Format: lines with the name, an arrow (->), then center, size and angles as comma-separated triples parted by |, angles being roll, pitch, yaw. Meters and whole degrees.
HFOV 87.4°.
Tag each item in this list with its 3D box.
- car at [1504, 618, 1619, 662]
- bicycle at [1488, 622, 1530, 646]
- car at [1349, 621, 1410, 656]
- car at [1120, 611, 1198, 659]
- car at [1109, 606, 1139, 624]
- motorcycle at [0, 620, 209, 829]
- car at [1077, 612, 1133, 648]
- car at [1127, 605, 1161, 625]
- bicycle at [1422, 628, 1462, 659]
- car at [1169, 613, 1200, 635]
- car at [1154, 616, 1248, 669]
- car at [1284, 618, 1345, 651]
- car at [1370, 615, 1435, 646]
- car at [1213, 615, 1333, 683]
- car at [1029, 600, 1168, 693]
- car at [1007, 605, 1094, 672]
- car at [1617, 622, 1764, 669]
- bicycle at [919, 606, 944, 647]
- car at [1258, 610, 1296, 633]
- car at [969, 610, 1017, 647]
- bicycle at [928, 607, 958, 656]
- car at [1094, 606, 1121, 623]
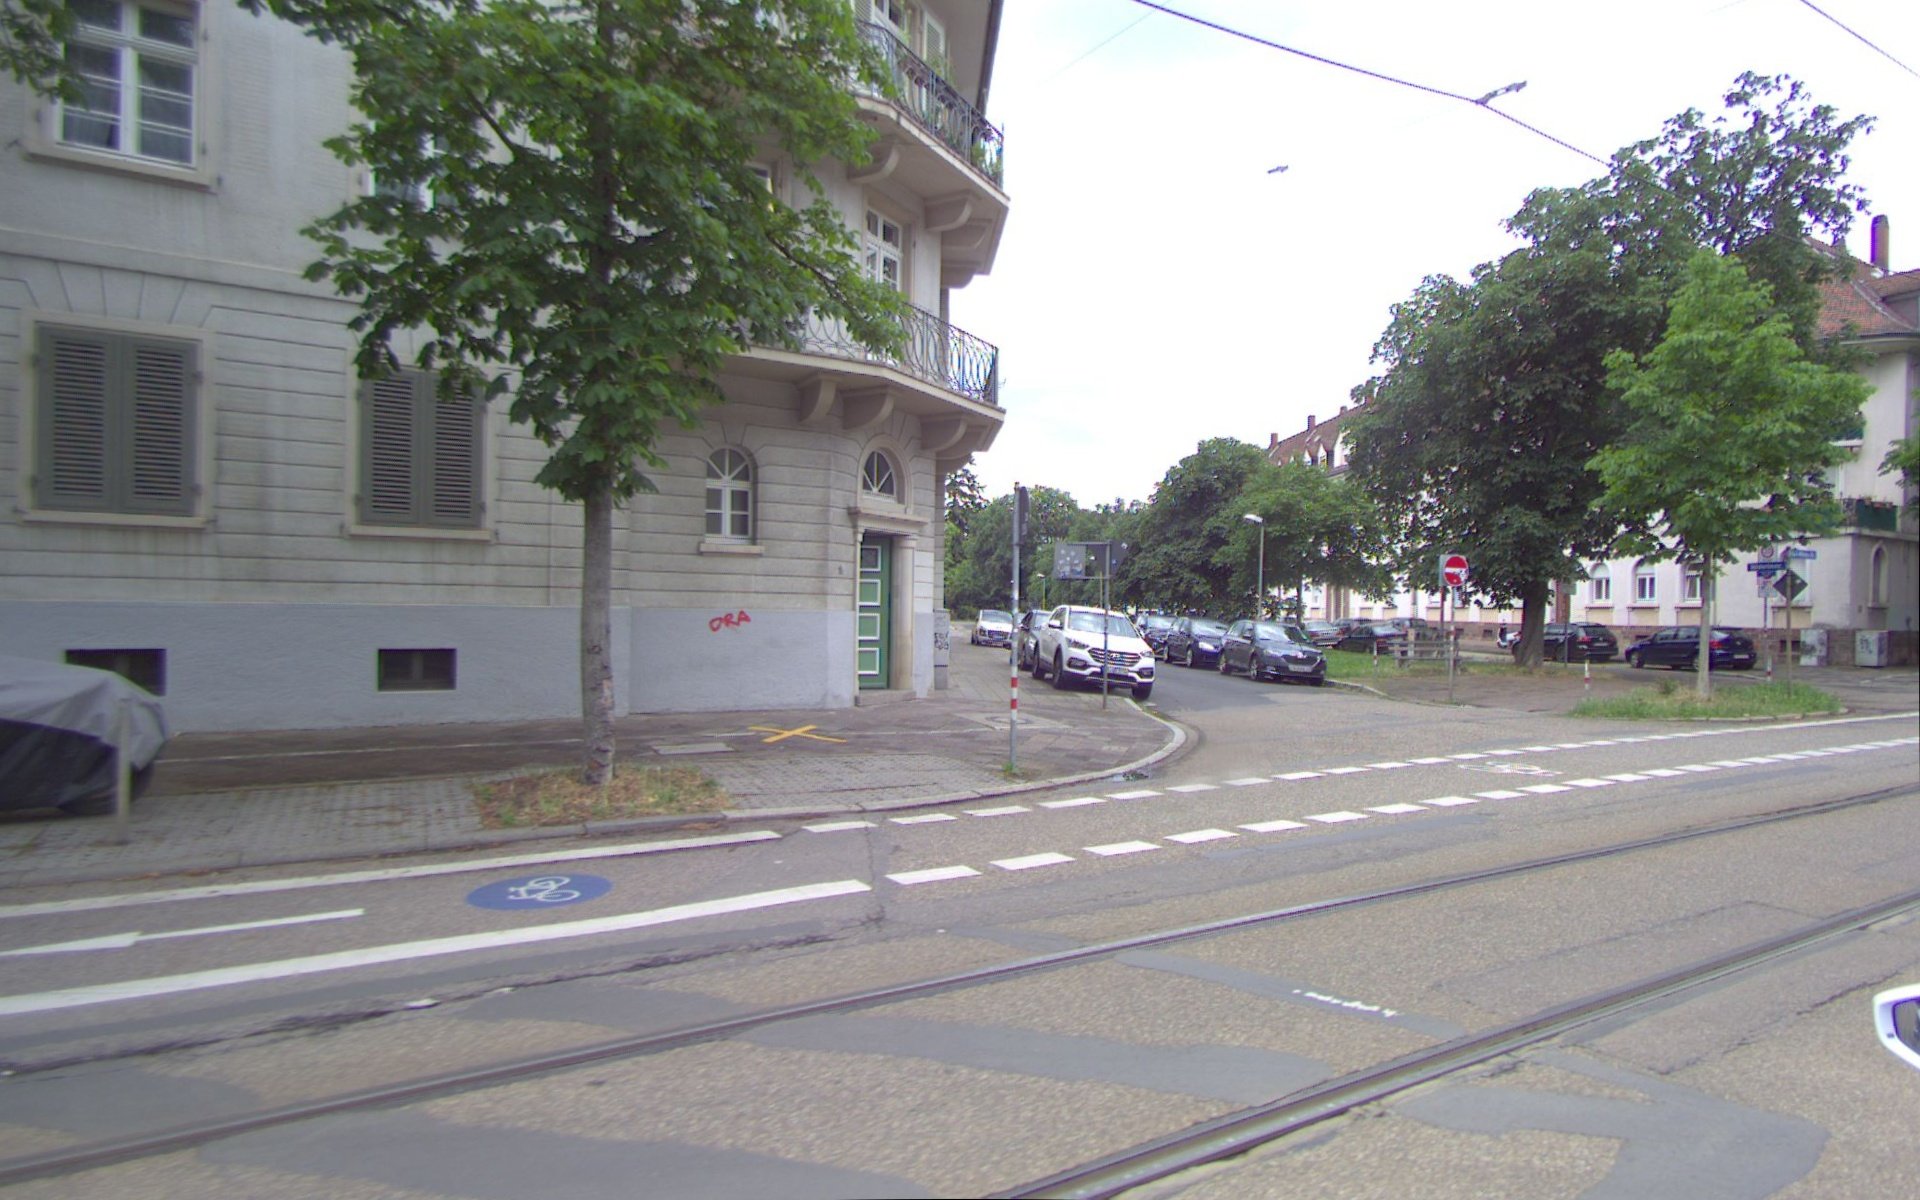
car -> 22.694, 1.479, 38.084 | 1.675, 1.483, 3.941 | 1, 0, -7
bicycle -> 25.143, 1.551, 46.061 | 0.641, 1.049, 2.190 | 1, 0, -3
car -> 17.342, 1.565, 41.626 | 1.329, 1.317, 2.968 | 1, 0, 2
car -> 7.007, 1.191, 35.720 | 1.670, 1.500, 4.187 | 1, 0, -4
car -> 15.165, 1.373, 92.960 | 1.863, 1.632, 4.498 | 1, 0, -3
motorcycle -> -6.093, 0.771, 6.357 | 2.122, 1.274, 0.536 | 1, 0, -37
car -> 6.756, 1.376, 47.203 | 1.768, 1.573, 4.187 | 0, -1, -4
car -> 15.868, 1.285, 86.861 | 1.863, 1.632, 4.498 | 1, 0, -3
bicycle -> 15.738, 1.417, 32.824 | 0.440, 0.937, 1.674 | 0, 0, -2
car -> 15.609, 1.635, 69.888 | 1.270, 1.409, 3.116 | 1, 0, -3
car -> 7.213, 1.244, 30.430 | 1.633, 1.364, 4.008 | 1, 0, -4
car -> 17.069, 1.623, 48.578 | 1.640, 1.428, 4.001 | 1, 0, 2
car -> 22.603, 1.524, 51.432 | 1.642, 1.460, 3.498 | 1, 0, -3
car -> 7.665, 1.149, 24.965 | 1.629, 1.429, 4.070 | 1, 0, -1
car -> 2.699, 0.868, 20.722 | 1.902, 1.685, 4.513 | 1, 0, -5
car -> 2.342, 0.978, 26.995 | 1.705, 1.533, 4.046 | 3, 0, -3
car -> 23.219, 1.410, 32.115 | 1.708, 1.324, 3.757 | 1, 0, -6
bicycle -> -1.090, 0.977, 37.652 | 0.759, 1.408, 2.674 | 4, 0, -3
car -> 21.331, 1.406, 67.722 | 1.362, 1.449, 3.310 | 1, 0, -3
car -> 1.431, 1.256, 45.157 | 1.739, 1.572, 4.150 | 1, 0, -4
bicycle -> -0.567, 0.976, 31.840 | 0.759, 1.408, 2.674 | 4, 0, -3
car -> 15.048, 1.485, 102.570 | 1.863, 1.632, 4.498 | 1, 0, -3
